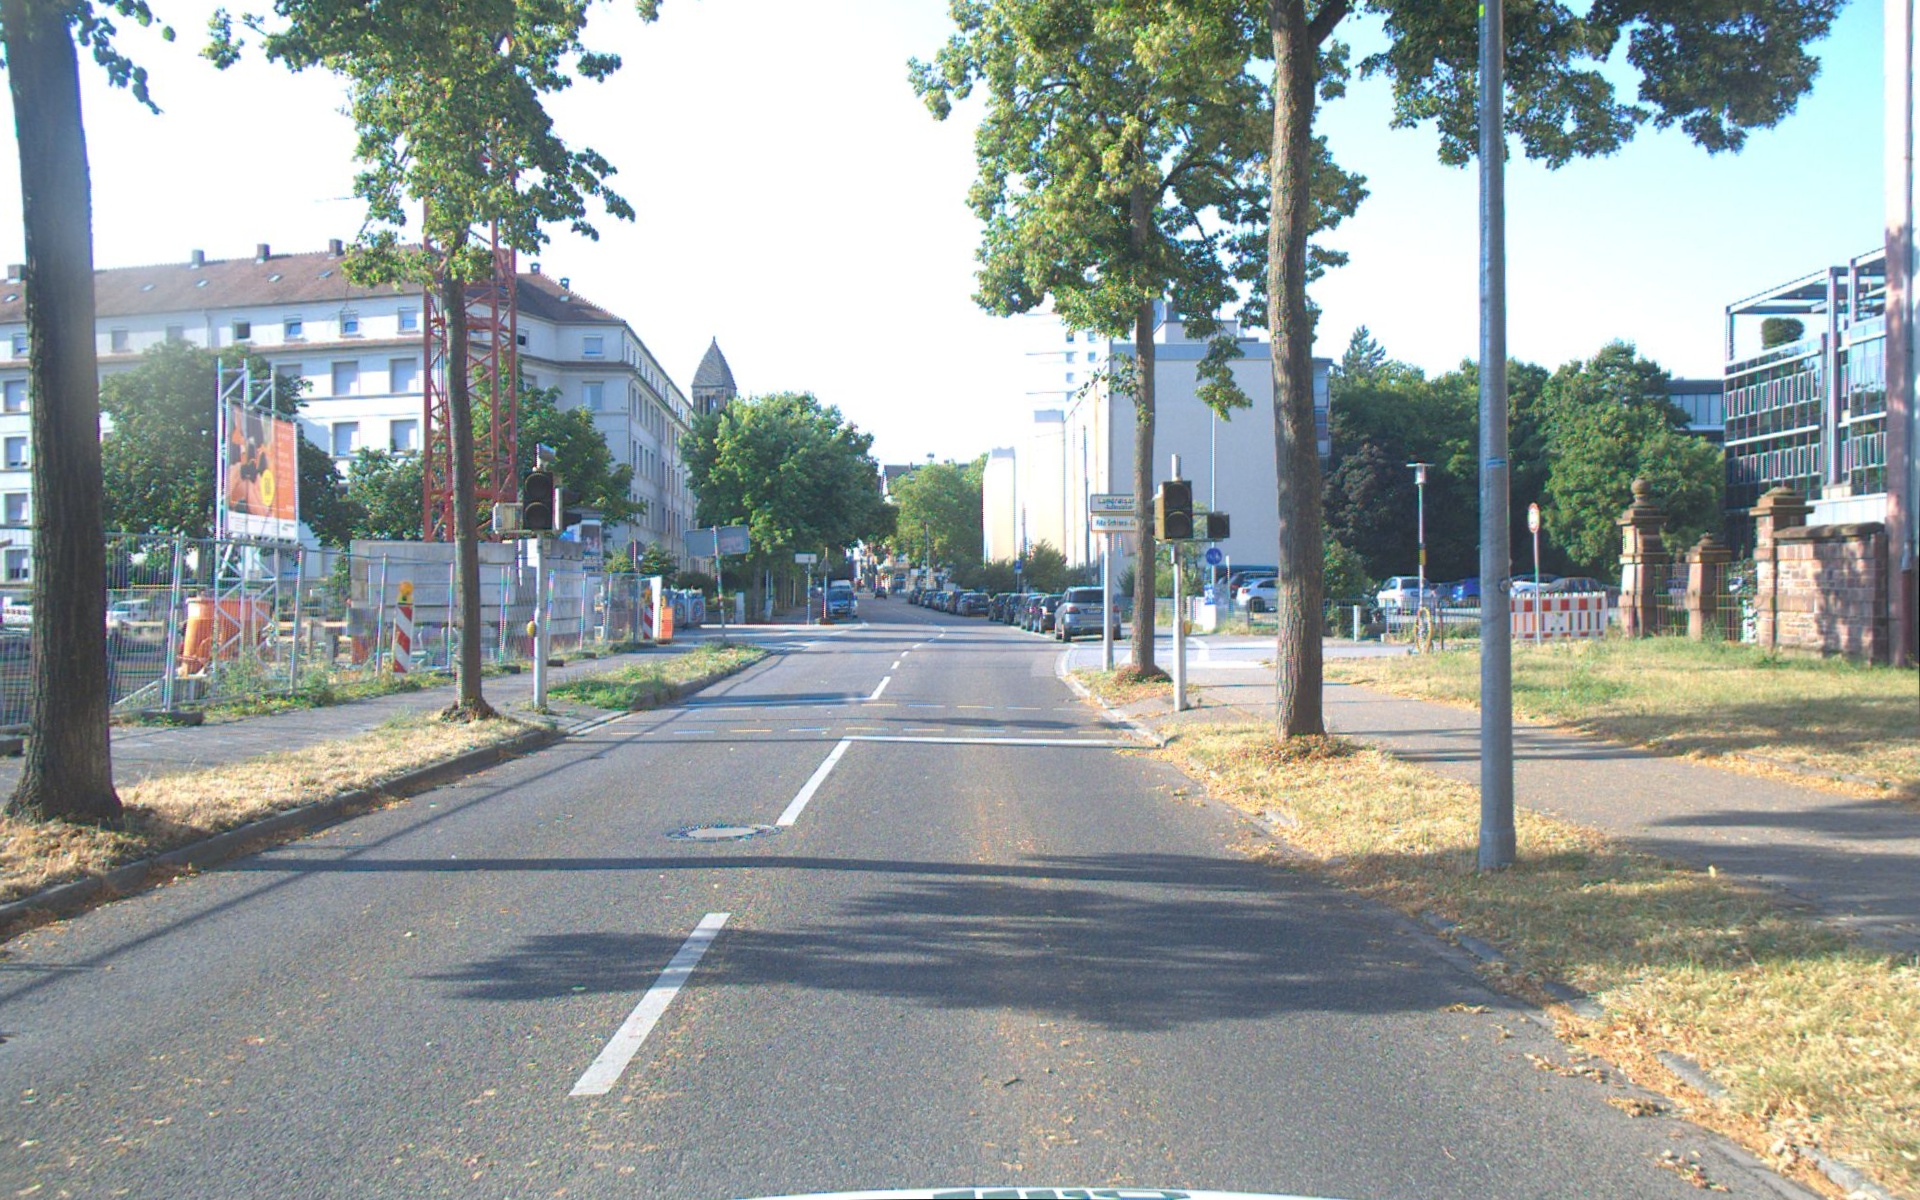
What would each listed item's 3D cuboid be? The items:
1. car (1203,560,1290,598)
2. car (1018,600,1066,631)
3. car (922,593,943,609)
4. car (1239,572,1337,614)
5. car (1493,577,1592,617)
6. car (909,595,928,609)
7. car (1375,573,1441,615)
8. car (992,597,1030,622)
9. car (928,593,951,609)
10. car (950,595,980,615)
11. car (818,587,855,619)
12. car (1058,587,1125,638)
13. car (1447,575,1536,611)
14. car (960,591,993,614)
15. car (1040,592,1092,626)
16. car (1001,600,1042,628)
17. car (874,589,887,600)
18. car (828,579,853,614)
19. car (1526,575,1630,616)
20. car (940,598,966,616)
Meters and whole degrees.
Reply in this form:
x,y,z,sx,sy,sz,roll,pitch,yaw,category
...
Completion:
x,y,z,sx,sy,sz,roll,pitch,yaw,category
13.810,-0.984,79.833,3.905,1.758,1.773,1,0,0,car
3.527,0.654,71.600,1.804,1.283,3.999,-1,0,-1,car
-2.653,0.101,157.189,1.805,1.410,3.997,-1,0,-4,car
14.004,-0.295,70.844,3.903,1.713,2.001,1,-1,5,car
26.614,-0.151,75.707,3.905,1.758,1.773,1,0,0,car
-4.515,0.200,180.000,1.805,1.410,3.997,-4,0,-4,car
18.102,-0.230,66.935,1.774,1.587,3.626,1,-1,2,car
2.707,0.478,88.630,1.804,1.283,3.999,-1,0,-1,car
-1.876,0.122,150.648,1.805,1.410,3.997,-1,0,-4,car
0.330,0.345,117.736,1.805,1.410,3.997,-1,0,-4,car
-6.974,0.166,93.108,1.955,1.717,3.995,-1,0,-6,car
4.327,0.398,54.880,1.804,1.601,3.999,-1,0,-1,car
26.772,-0.344,83.421,3.905,1.758,1.773,1,0,0,car
1.044,0.181,107.010,1.805,1.410,3.997,-1,0,-4,car
4.216,0.344,66.188,1.743,1.248,3.999,-1,0,-1,car
3.019,0.681,81.962,1.804,1.283,3.999,-1,0,-1,car
-10.956,-0.727,228.516,1.680,1.512,3.997,-2,0,-4,car
-11.488,-0.355,159.063,2.143,3.185,4.981,-3,0,-4,car
27.184,-0.201,72.858,3.905,1.758,1.773,1,0,0,car
-0.591,0.533,130.080,1.805,1.410,3.997,-1,0,-4,car
